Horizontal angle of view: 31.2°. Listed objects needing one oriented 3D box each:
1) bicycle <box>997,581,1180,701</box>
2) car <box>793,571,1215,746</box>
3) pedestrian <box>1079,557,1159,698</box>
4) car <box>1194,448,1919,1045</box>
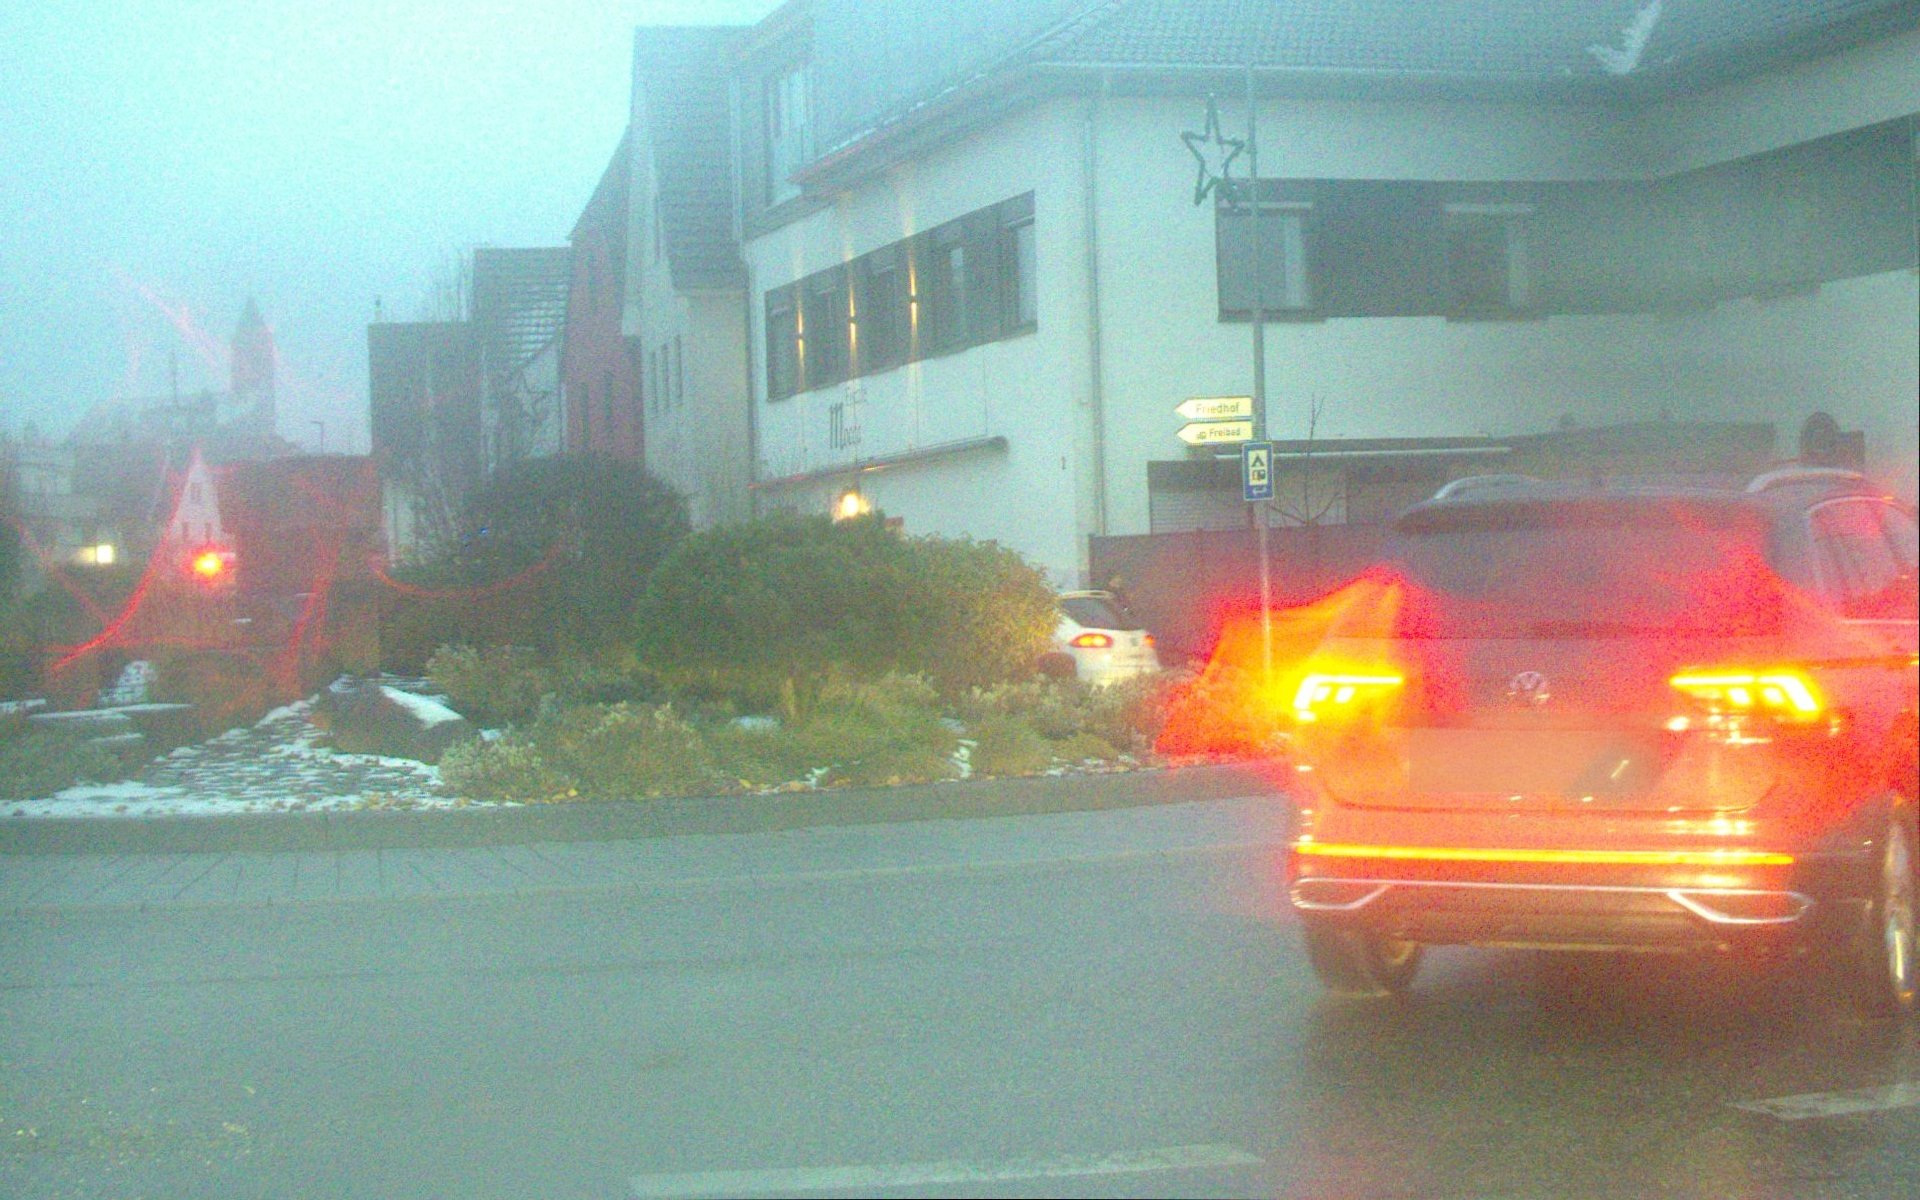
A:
[{"bbox_3d":[1.425,0.452,38.102,1.939,1.291,0.551,-1,2,26],"label":"bicycle"},{"bbox_3d":[0.373,0.526,32.871,1.779,1.533,3.930,-2,1,-43],"label":"car"},{"bbox_3d":[1.784,0.307,38.494,0.690,1.559,0.609,-1,1,25],"label":"pedestrian"},{"bbox_3d":[2.402,0.339,11.458,1.918,1.609,3.945,-1,2,25],"label":"car"}]
